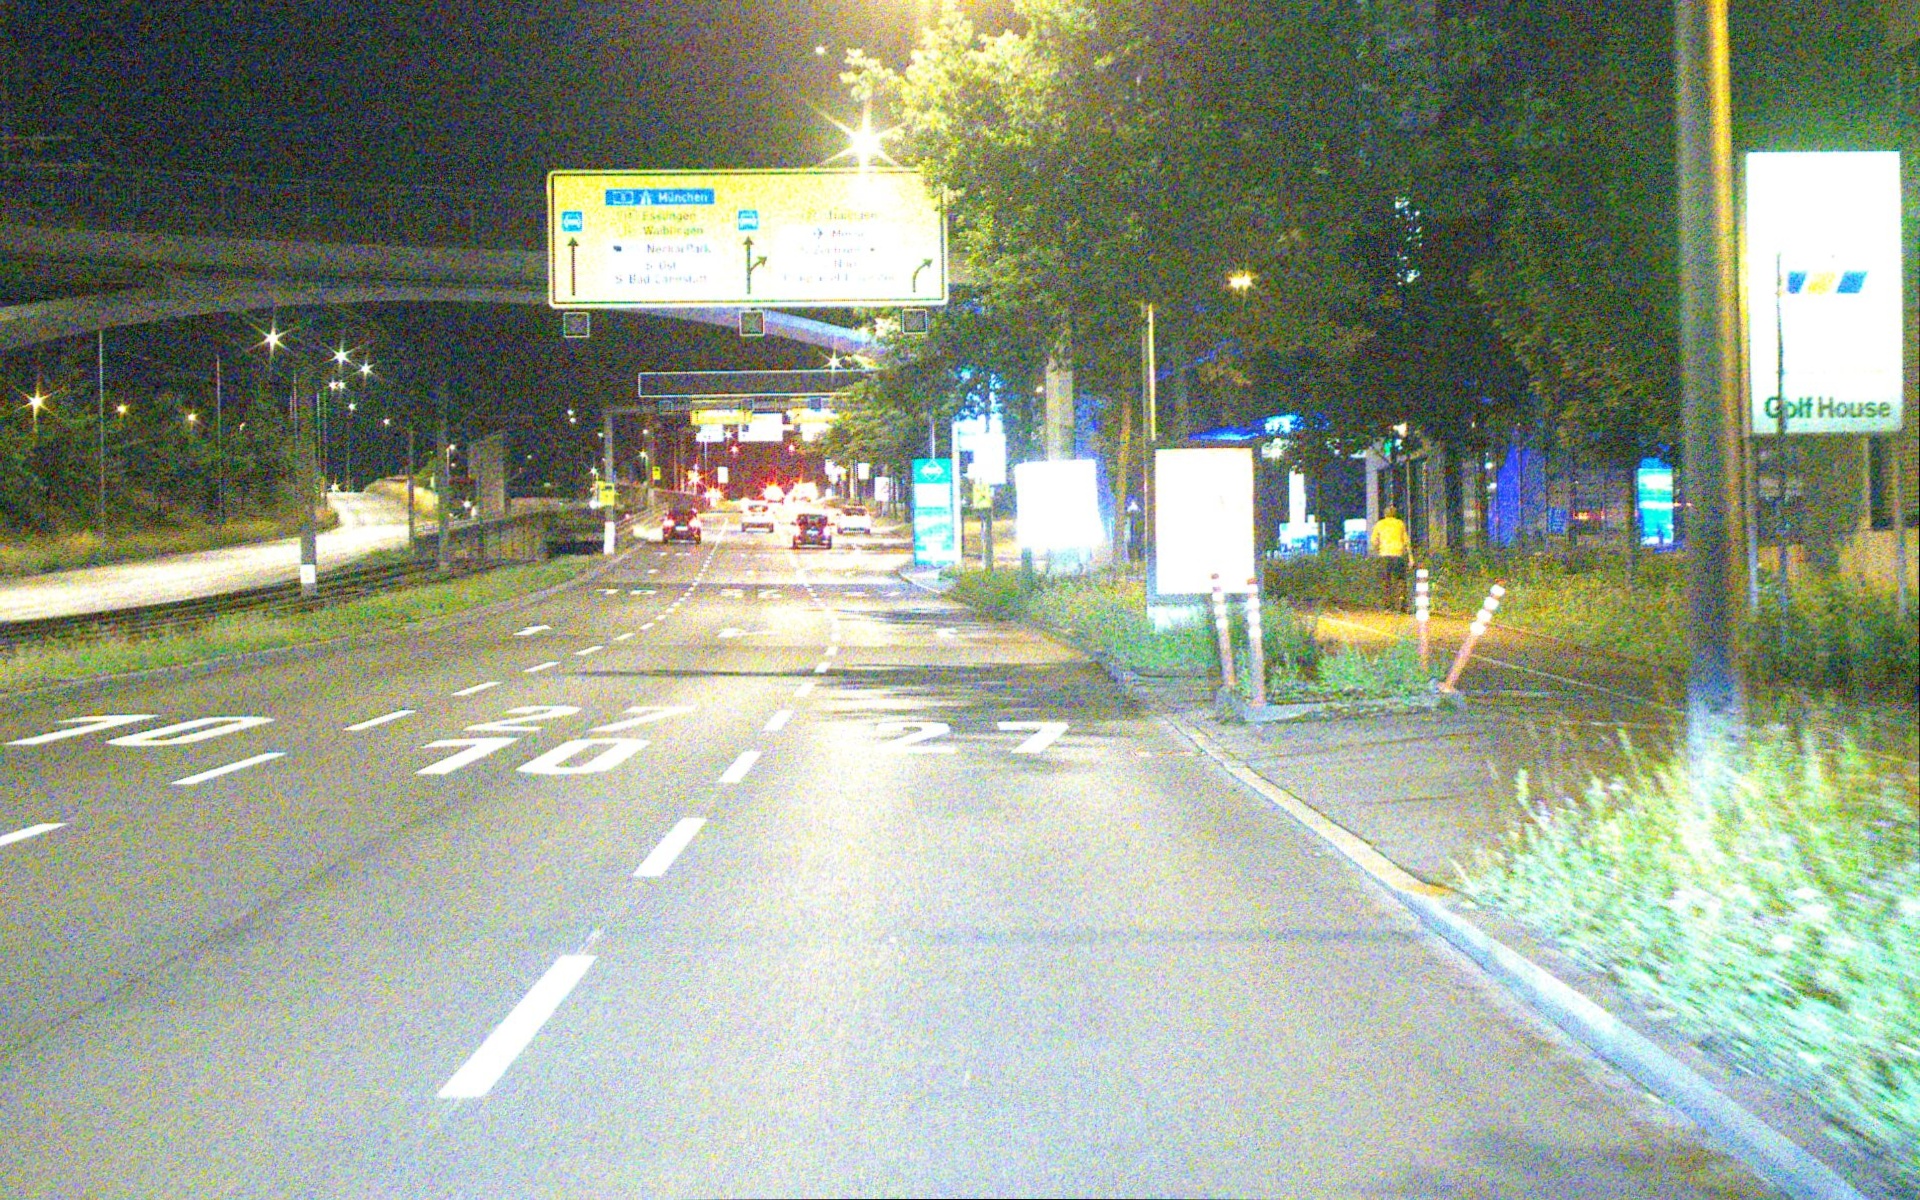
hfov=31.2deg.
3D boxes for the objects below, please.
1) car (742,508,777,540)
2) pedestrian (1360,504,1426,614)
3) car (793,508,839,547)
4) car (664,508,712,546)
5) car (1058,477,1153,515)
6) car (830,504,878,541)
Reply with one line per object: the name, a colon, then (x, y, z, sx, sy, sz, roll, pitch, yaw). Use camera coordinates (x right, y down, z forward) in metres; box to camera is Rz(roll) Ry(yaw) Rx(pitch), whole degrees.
car: (-11.202, -4.251, 192.476, 1.782, 1.705, 4.000, 1, 0, -1)
pedestrian: (6.860, -0.648, 54.505, 0.852, 1.701, 0.957, 1, 0, -2)
car: (-6.533, -3.277, 155.860, 1.968, 1.705, 4.000, 1, 0, -1)
car: (-12.750, -3.433, 161.380, 1.968, 1.705, 4.000, 1, 0, -1)
car: (6.521, -4.674, 154.366, 4.119, 1.517, 1.822, -2, 0, -2)
car: (-5.993, -4.373, 194.730, 2.651, 2.007, 5.299, 1, 0, -1)
